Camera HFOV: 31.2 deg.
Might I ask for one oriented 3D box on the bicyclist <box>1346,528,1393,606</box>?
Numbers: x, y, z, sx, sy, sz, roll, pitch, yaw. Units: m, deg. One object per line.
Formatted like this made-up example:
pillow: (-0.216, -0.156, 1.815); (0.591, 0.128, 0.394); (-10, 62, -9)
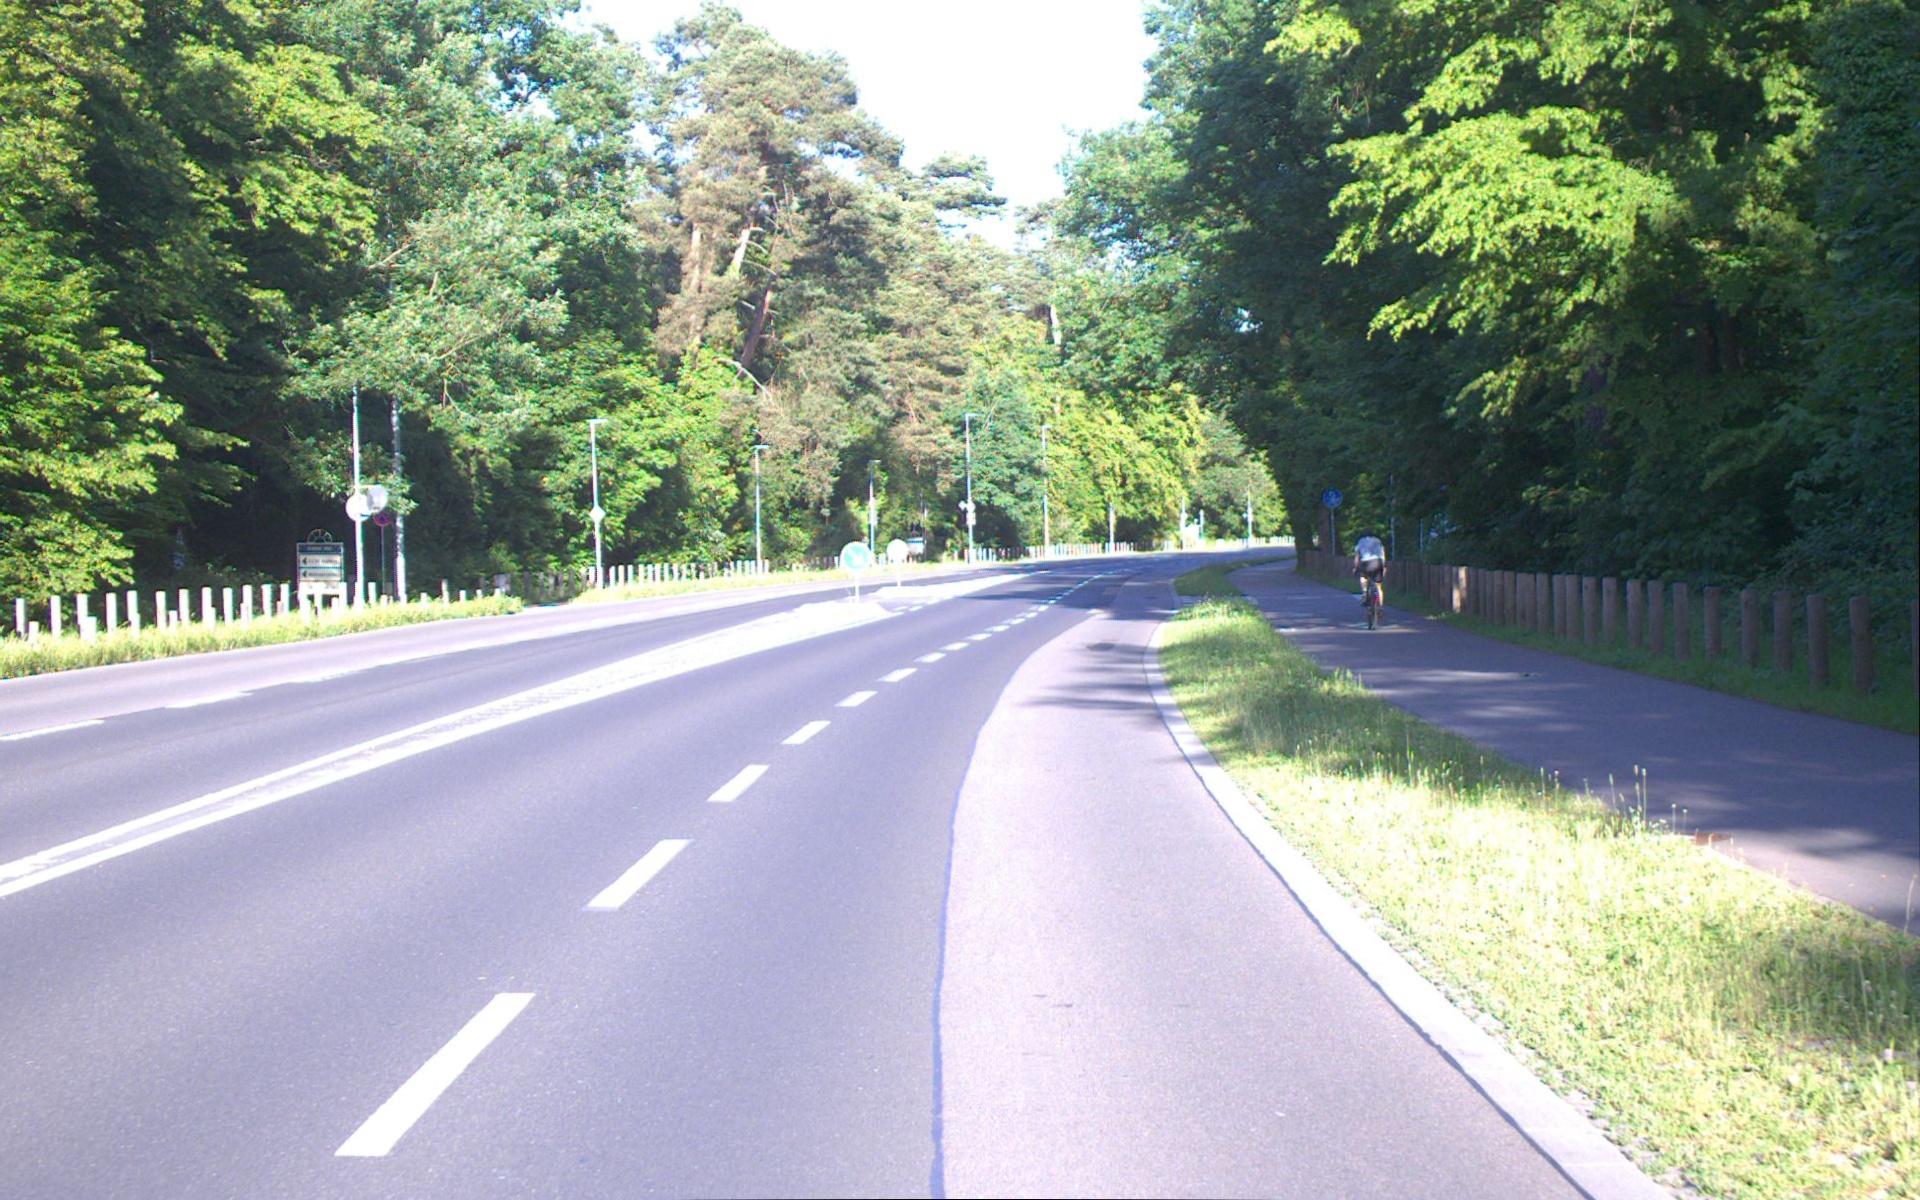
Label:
bicyclist: (6.750, -0.540, 56.689); (0.712, 1.284, 1.104); (0, 0, 4)

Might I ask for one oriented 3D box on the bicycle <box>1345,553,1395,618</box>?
bicycle: (6.746, -0.242, 56.663); (0.712, 1.052, 2.052); (0, 0, 4)
